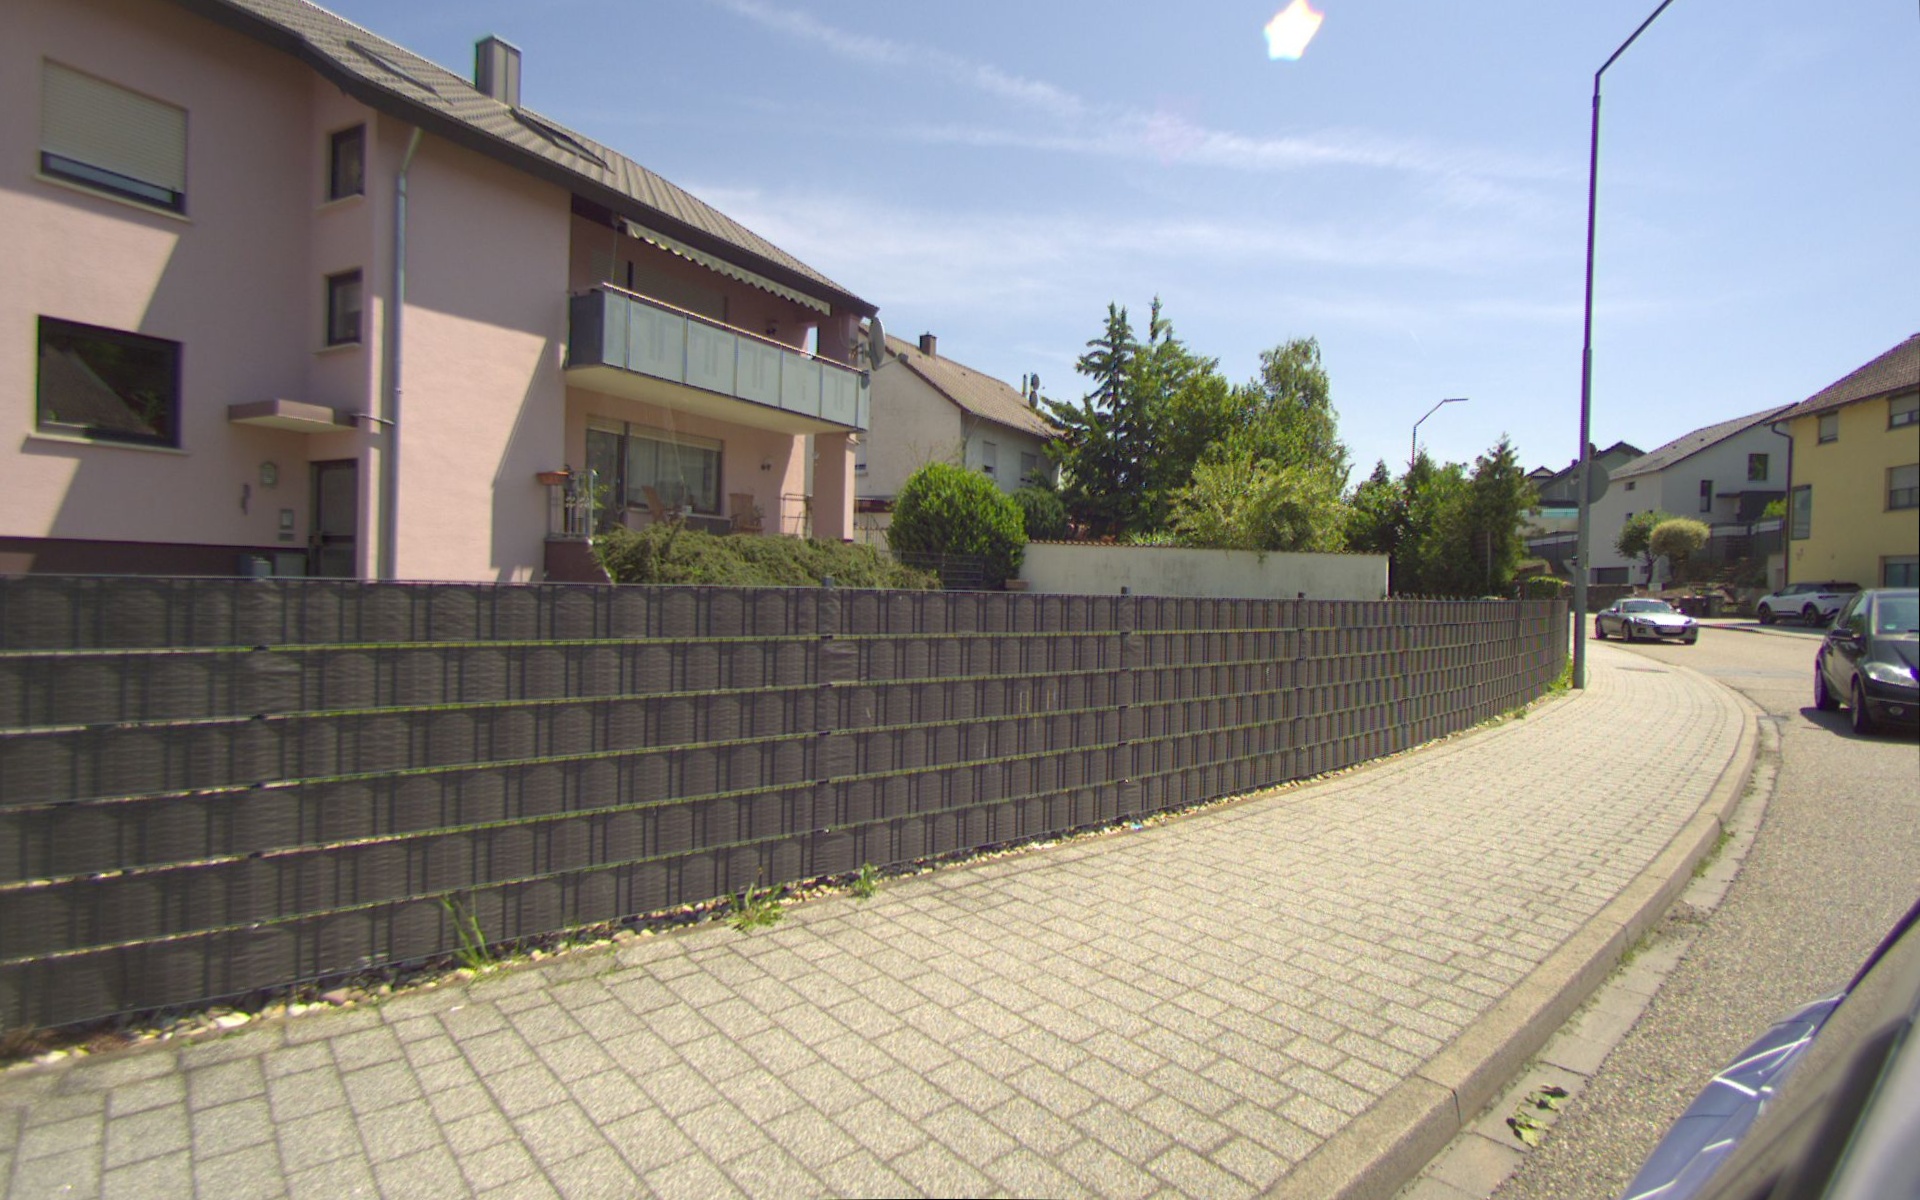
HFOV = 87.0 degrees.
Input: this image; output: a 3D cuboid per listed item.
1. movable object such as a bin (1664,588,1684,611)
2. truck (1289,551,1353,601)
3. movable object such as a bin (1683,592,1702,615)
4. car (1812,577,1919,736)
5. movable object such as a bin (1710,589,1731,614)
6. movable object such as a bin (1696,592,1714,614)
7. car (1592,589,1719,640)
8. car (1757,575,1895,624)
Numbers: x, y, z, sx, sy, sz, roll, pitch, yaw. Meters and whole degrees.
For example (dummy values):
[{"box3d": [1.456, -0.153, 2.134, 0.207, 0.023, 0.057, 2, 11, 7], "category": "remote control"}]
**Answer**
[{"box3d": [30.884, -0.014, 43.776, 0.494, 0.960, 0.552, 1, 1, 10], "category": "movable object such as a bin"}, {"box3d": [29.220, -1.948, 82.287, 3.154, 3.643, 8.286, 5, 2, 9], "category": "truck"}, {"box3d": [31.562, 0.143, 43.623, 0.441, 0.940, 0.560, 0, 1, 9], "category": "movable object such as a bin"}, {"box3d": [11.287, 0.538, 11.641, 1.753, 1.612, 4.149, 1, 1, 33], "category": "car"}, {"box3d": [32.586, 0.065, 43.391, 0.464, 1.068, 0.632, 0, 1, 9], "category": "movable object such as a bin"}, {"box3d": [32.065, 0.135, 43.560, 0.441, 0.950, 0.529, 1, 1, 9], "category": "movable object such as a bin"}, {"box3d": [20.198, 0.370, 29.604, 1.789, 1.330, 3.982, 1, 1, 15], "category": "car"}, {"box3d": [29.657, -0.065, 34.850, 1.708, 1.571, 4.176, 1, 1, 11], "category": "car"}]
